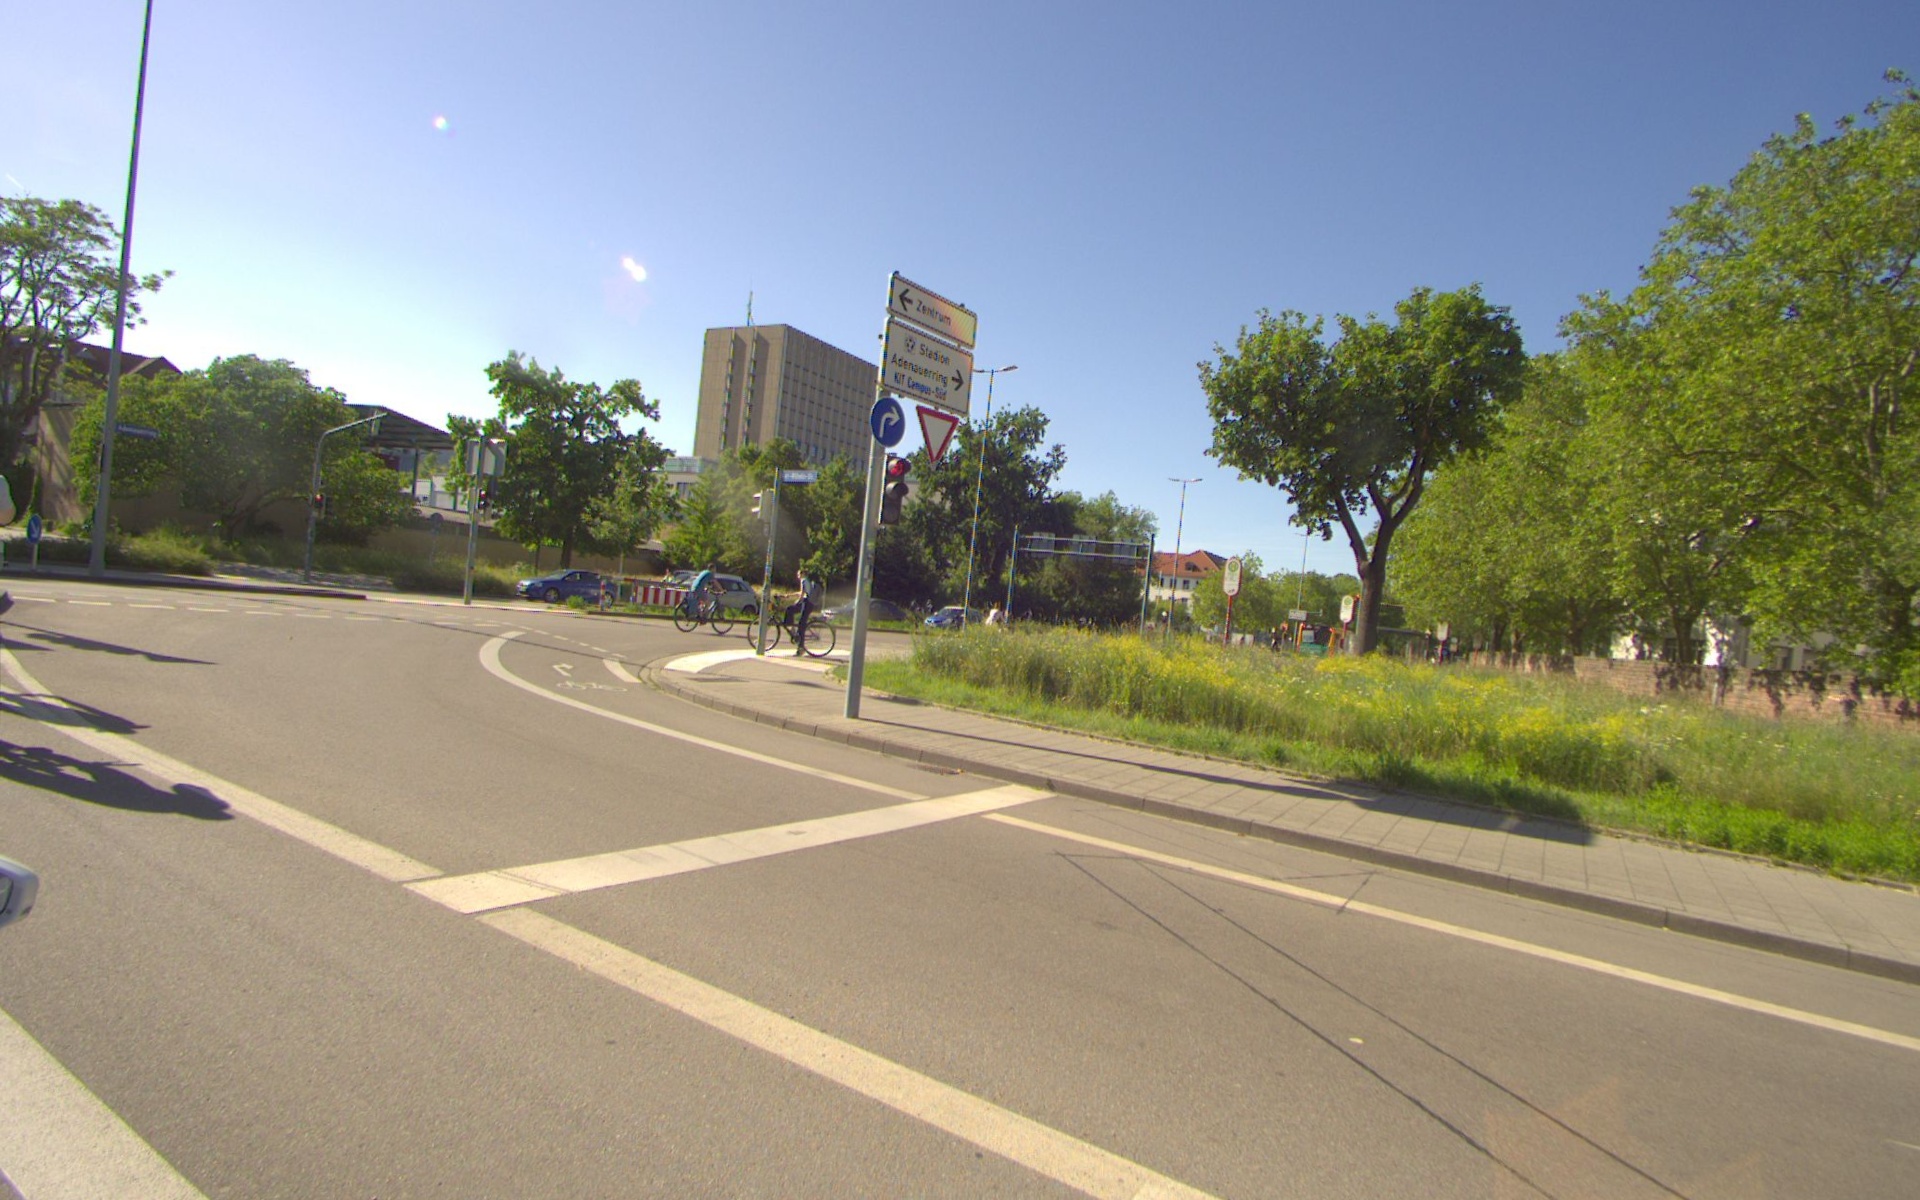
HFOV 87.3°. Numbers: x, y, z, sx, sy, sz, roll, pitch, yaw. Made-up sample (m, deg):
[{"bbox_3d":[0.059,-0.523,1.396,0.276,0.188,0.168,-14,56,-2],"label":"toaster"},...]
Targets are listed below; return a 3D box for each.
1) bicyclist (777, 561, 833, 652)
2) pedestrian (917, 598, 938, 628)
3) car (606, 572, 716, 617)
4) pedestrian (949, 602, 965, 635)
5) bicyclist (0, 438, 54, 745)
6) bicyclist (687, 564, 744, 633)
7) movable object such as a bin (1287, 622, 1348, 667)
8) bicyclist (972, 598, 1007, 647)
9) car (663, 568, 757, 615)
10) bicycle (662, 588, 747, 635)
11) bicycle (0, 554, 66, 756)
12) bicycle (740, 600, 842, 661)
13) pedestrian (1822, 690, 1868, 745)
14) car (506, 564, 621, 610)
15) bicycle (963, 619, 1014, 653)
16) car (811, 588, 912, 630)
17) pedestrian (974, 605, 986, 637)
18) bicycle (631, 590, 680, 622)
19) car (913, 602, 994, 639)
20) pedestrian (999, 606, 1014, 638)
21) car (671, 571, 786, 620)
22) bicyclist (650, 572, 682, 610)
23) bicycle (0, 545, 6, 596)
[{"bbox_3d":[-3.039,0.123,19.701,0.898,1.667,0.630,6,1,-9],"label":"bicyclist"},{"bbox_3d":[-2.377,0.944,73.522,0.752,2.039,1.267,7,1,36],"label":"pedestrian"},{"bbox_3d":[-12.302,-0.202,41.566,1.767,1.415,3.986,7,0,37],"label":"car"},{"bbox_3d":[-0.210,1.431,77.173,0.660,2.451,0.770,6,-1,34],"label":"pedestrian"},{"bbox_3d":[-6.237,-0.109,6.092,1.123,1.813,0.684,7,0,32],"label":"bicyclist"},{"bbox_3d":[-5.849,-0.029,24.103,0.632,1.533,1.049,7,2,39],"label":"bicyclist"},{"bbox_3d":[27.059,3.419,75.799,2.954,2.898,9.178,6,0,27],"label":"movable object such as a bin"},{"bbox_3d":[0.991,0.742,33.549,0.509,1.548,1.067,7,2,39],"label":"bicyclist"},{"bbox_3d":[-11.845,-0.369,47.791,1.767,1.771,3.986,7,0,37],"label":"car"},{"bbox_3d":[-6.051,0.286,23.902,0.640,0.986,1.895,7,1,39],"label":"bicycle"},{"bbox_3d":[-6.265,0.239,6.082,1.890,1.102,0.690,6,-1,32],"label":"bicycle"},{"bbox_3d":[-3.292,0.590,19.673,1.856,0.970,0.635,7,1,-10],"label":"bicycle"},{"bbox_3d":[25.671,3.399,29.185,0.712,1.460,0.523,7,-1,2],"label":"pedestrian"},{"bbox_3d":[-16.213,-0.528,41.313,1.767,1.415,3.986,7,0,37],"label":"car"},{"bbox_3d":[0.965,1.213,33.591,0.514,1.000,1.965,7,1,39],"label":"bicycle"},{"bbox_3d":[-4.312,0.434,44.625,1.767,1.415,4.557,7,0,37],"label":"car"},{"bbox_3d":[1.589,1.685,79.793,0.401,2.451,0.467,6,-1,34],"label":"pedestrian"},{"bbox_3d":[-11.627,0.246,38.428,0.602,1.046,1.681,7,0,37],"label":"bicycle"},{"bbox_3d":[-0.297,1.048,50.453,1.916,1.415,3.986,6,0,37],"label":"car"},{"bbox_3d":[3.708,1.743,80.833,0.710,2.451,0.585,6,-1,34],"label":"pedestrian"},{"bbox_3d":[-8.742,-0.132,38.284,1.767,1.415,3.986,7,0,37],"label":"car"},{"bbox_3d":[-11.327,-0.337,38.729,0.602,1.360,0.874,7,1,37],"label":"bicyclist"},{"bbox_3d":[-8.184,0.023,7.737,1.890,1.102,0.690,6,-1,32],"label":"bicycle"}]
